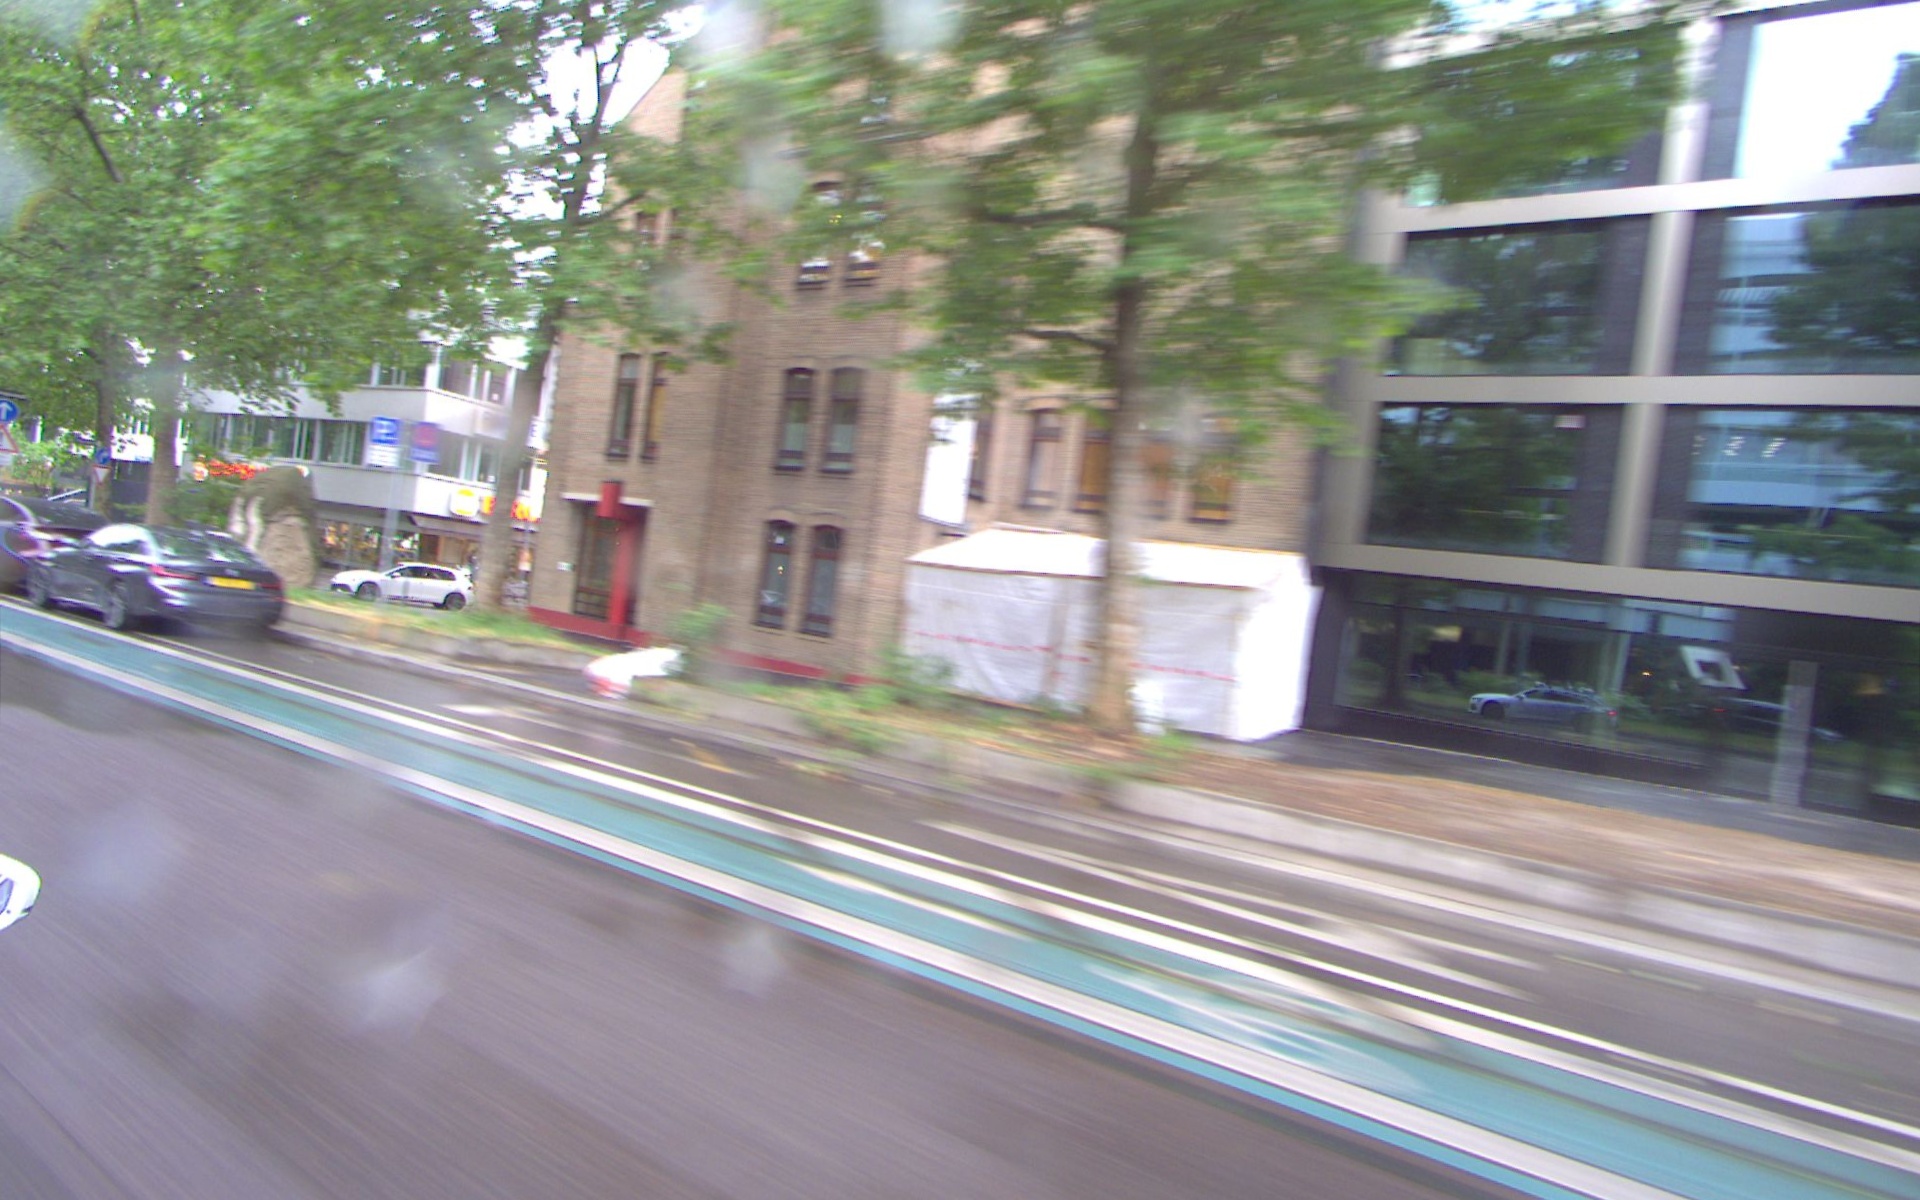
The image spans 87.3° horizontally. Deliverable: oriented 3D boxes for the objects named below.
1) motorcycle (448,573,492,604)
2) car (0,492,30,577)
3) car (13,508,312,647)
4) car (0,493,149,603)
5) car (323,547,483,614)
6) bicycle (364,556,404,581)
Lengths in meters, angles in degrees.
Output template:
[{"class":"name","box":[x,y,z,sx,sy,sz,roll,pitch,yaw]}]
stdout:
[{"class":"motorcycle","box":[-20.239,-0.467,41.546,0.610,1.041,1.430,6,-3,29]},{"class":"car","box":[-20.600,-1.530,19.974,4.002,1.589,1.733,6,-3,27]},{"class":"car","box":[-11.786,-0.359,14.794,4.534,1.437,1.877,6,-3,31]},{"class":"car","box":[-16.572,-1.021,17.752,4.481,1.537,1.872,6,-3,30]},{"class":"car","box":[-18.722,-0.639,33.906,4.233,1.584,2.032,10,-3,-42]},{"class":"bicycle","box":[-24.105,-1.305,42.097,1.993,0.846,0.449,6,-2,32]}]
